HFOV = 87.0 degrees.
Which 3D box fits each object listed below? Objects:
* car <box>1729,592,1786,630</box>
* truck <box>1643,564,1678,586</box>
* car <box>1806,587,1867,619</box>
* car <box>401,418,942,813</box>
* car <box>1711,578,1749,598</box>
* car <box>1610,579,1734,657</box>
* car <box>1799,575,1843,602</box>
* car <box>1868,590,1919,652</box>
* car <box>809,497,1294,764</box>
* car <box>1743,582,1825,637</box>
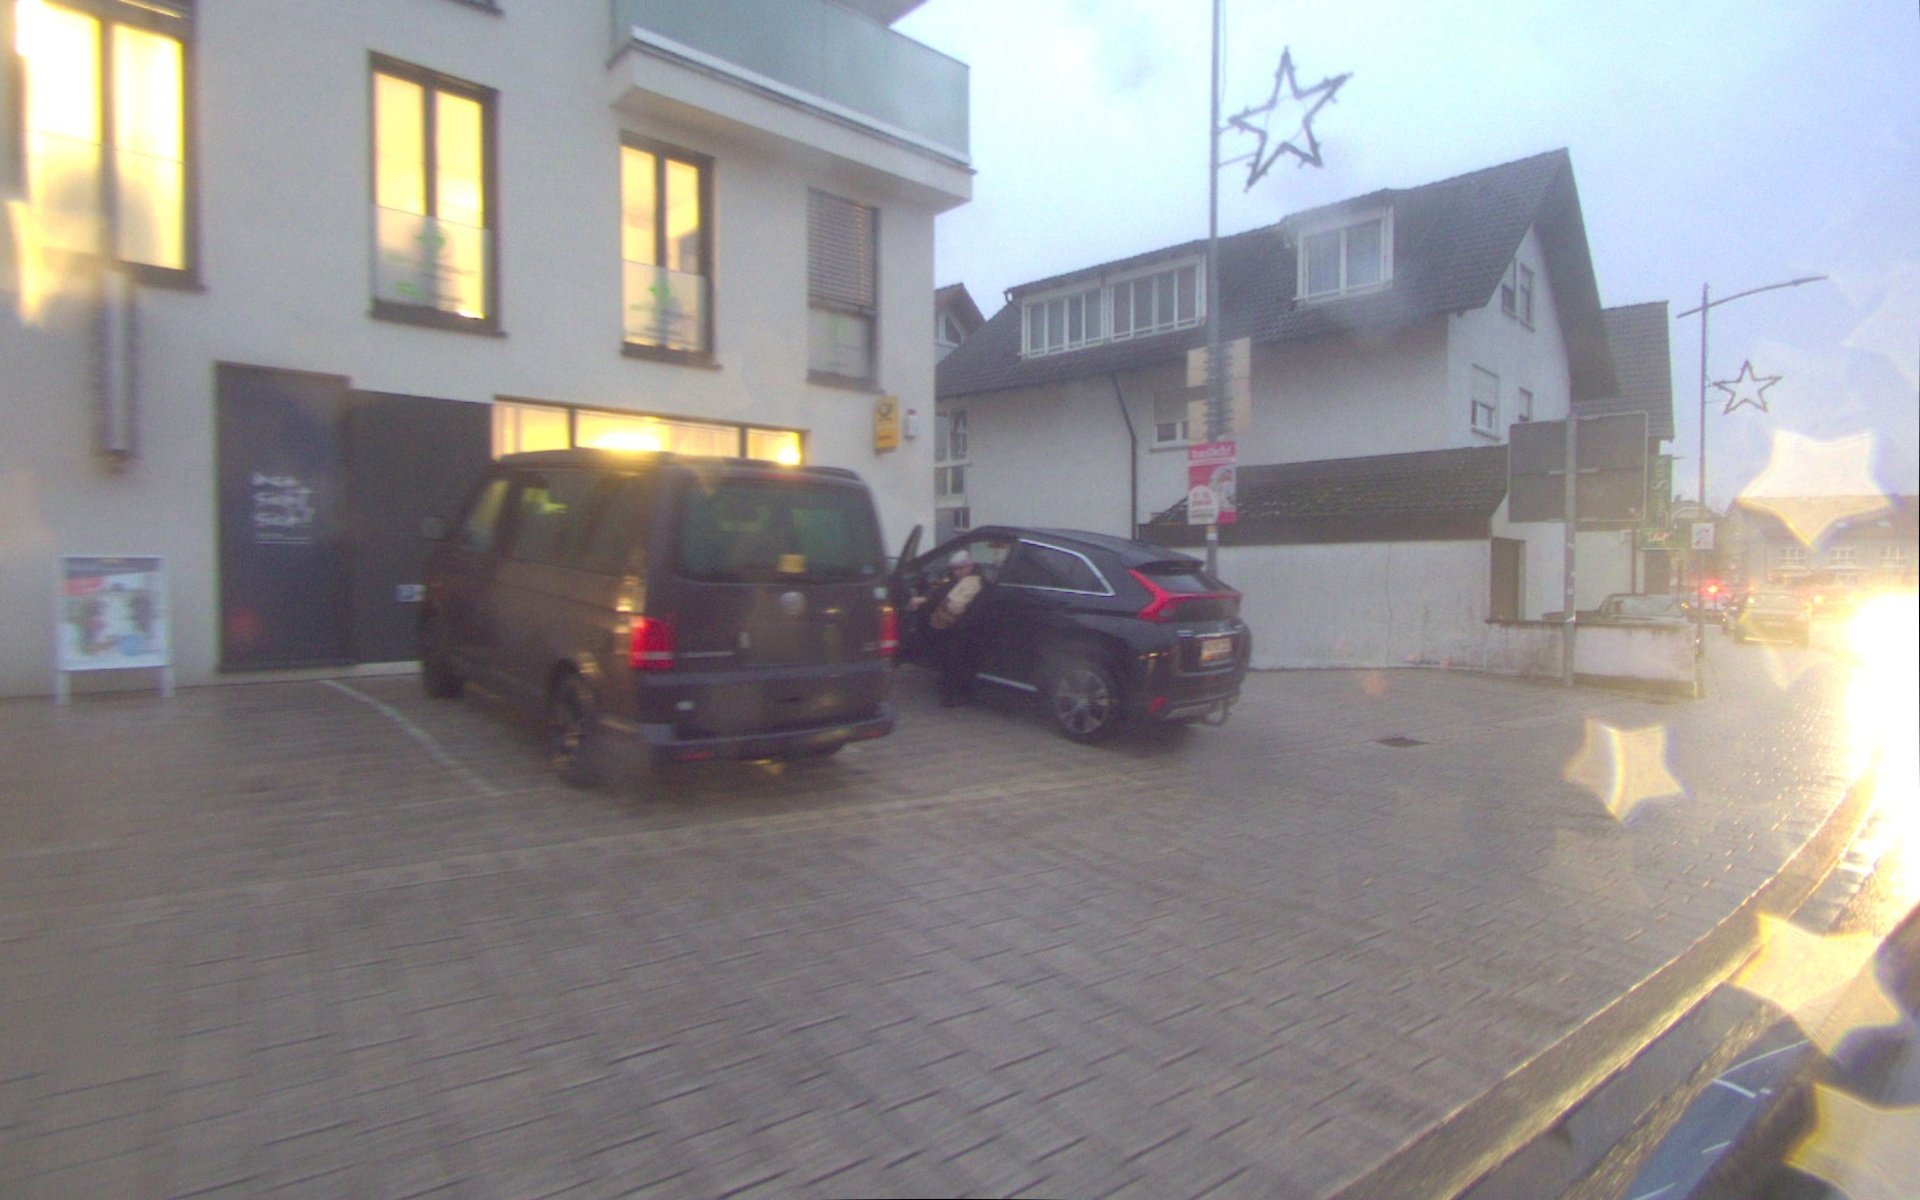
[{"bbox_3d":[29.331,0.370,37.300,1.489,1.307,3.248,1,1,36],"label":"car"},{"bbox_3d":[70.336,-2.496,101.675,2.124,2.038,4.495,3,1,26],"label":"truck"},{"bbox_3d":[45.910,0.128,53.080,1.658,1.541,3.956,3,1,30],"label":"car"},{"bbox_3d":[-2.392,-0.078,7.361,1.940,1.957,4.550,3,3,-41],"label":"car"},{"bbox_3d":[61.889,-0.953,81.381,1.738,1.435,3.719,3,1,27],"label":"car"},{"bbox_3d":[15.878,0.366,22.503,1.771,1.515,3.720,4,2,42],"label":"car"},{"bbox_3d":[66.729,-0.869,78.480,1.985,2.039,3.955,0,1,32],"label":"car"},{"bbox_3d":[24.827,0.506,26.217,1.563,1.487,3.570,-1,1,36],"label":"car"},{"bbox_3d":[0.675,0.089,9.401,4.139,1.653,1.729,11,7,40],"label":"car"},{"bbox_3d":[25.968,0.280,31.853,1.842,1.606,3.712,1,1,42],"label":"car"}]
